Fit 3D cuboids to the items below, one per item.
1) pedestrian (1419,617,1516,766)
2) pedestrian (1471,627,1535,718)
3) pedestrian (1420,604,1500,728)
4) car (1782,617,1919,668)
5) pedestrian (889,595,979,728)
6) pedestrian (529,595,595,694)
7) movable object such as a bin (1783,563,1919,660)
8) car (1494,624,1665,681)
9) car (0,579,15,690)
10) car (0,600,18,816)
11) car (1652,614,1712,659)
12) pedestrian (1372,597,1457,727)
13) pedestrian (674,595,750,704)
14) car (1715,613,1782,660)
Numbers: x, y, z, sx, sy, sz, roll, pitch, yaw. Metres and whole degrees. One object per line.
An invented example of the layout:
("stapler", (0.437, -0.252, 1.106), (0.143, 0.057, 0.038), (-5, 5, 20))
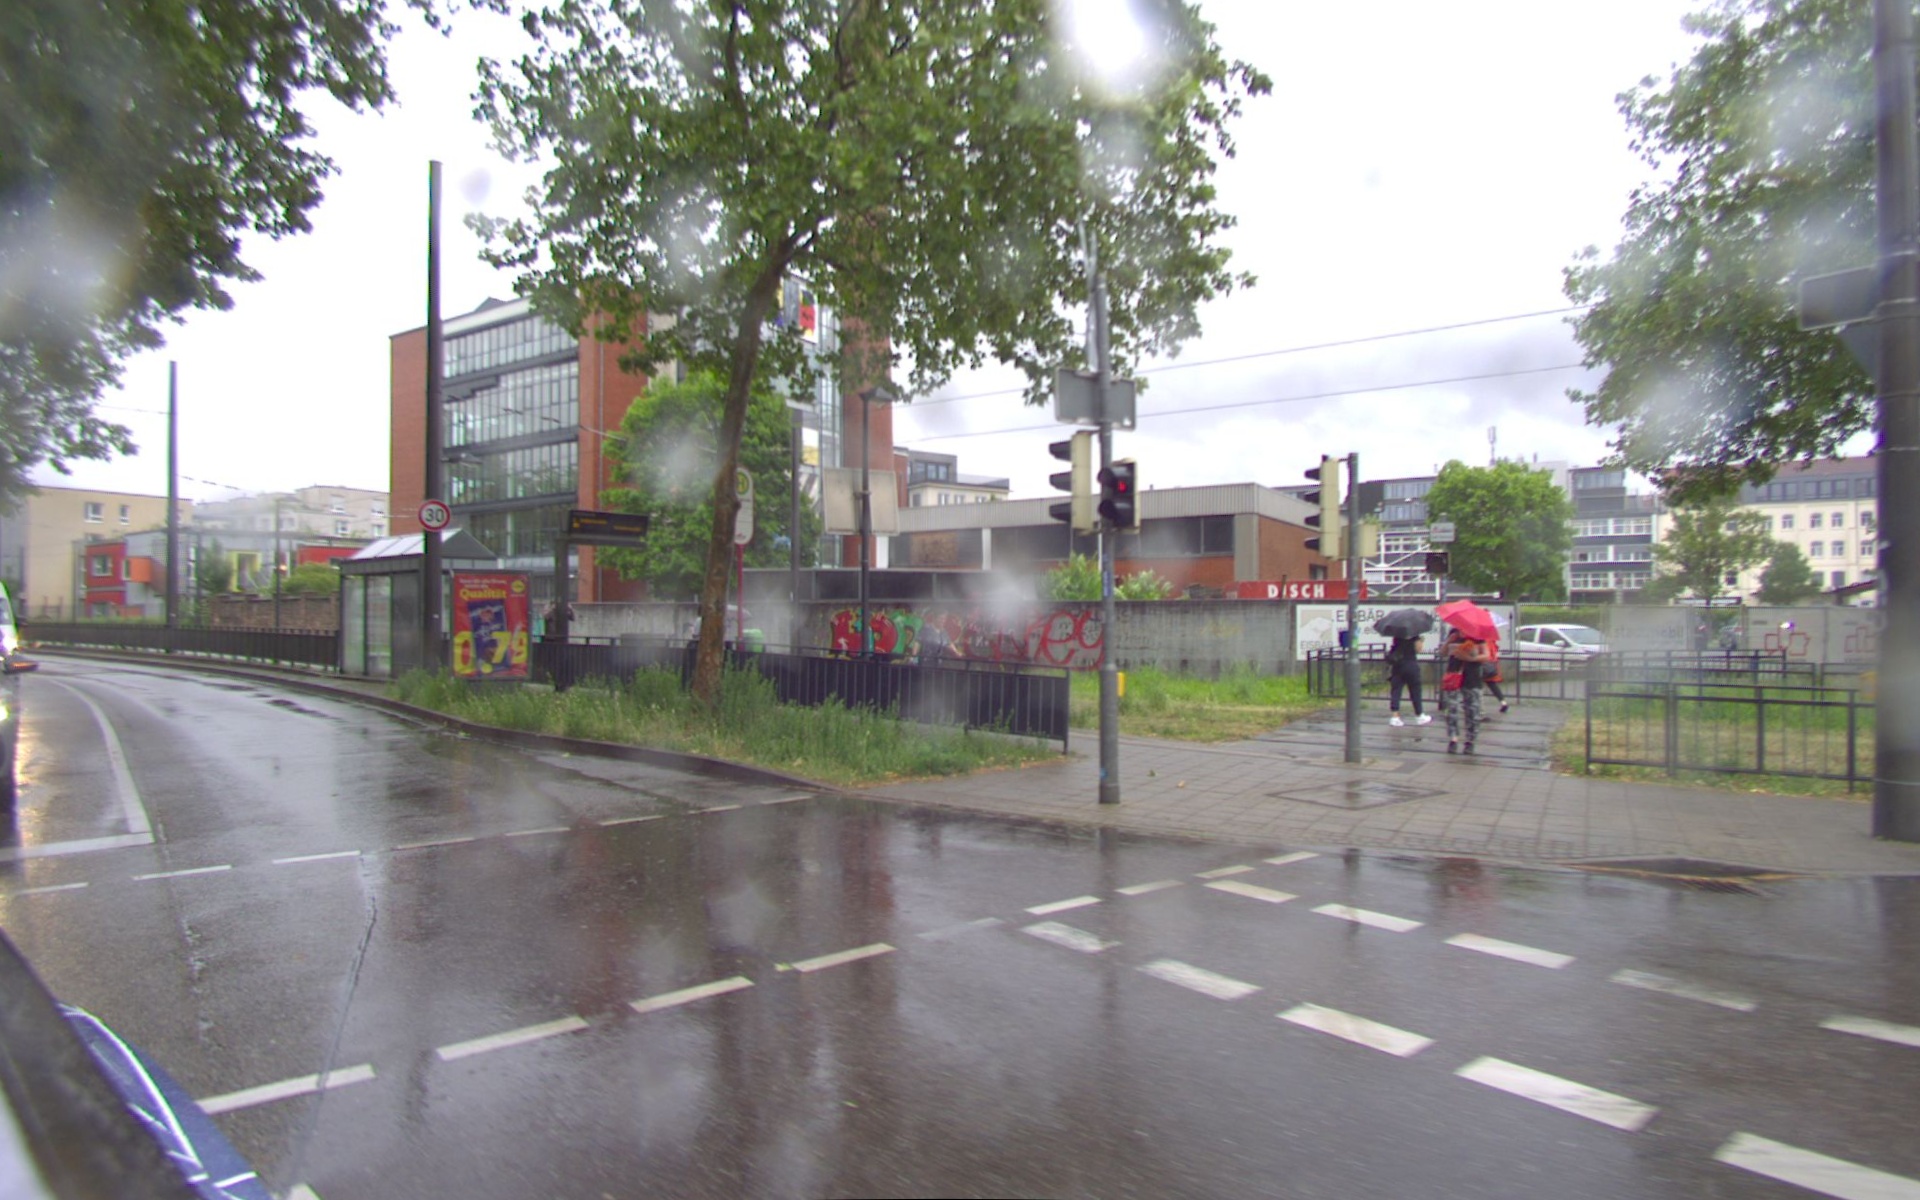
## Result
("pedestrian", (6.098, 1.064, 12.156), (0.859, 1.701, 0.838), (-2, -2, 37))
("pedestrian", (9.392, 1.233, 17.505), (0.827, 1.516, 0.838), (-2, -2, 37))
("pedestrian", (7.883, 1.020, 15.954), (0.954, 1.876, 0.838), (-2, -2, 37))
("car", (26.283, 1.186, 29.099), (1.812, 1.331, 3.676), (0, 0, -18))
("pedestrian", (-0.348, 0.807, 13.621), (0.847, 1.701, 0.850), (-2, -2, 36))
("pedestrian", (-7.686, 0.847, 19.540), (0.847, 1.846, 0.850), (-3, -2, 36))
("movable object such as a bin", (30.345, 0.346, 31.656), (2.728, 2.953, 6.797), (0, -1, -15))
("car", (16.267, 1.330, 26.805), (1.813, 1.331, 3.674), (0, 0, -12))
("car", (-25.074, 0.823, 25.163), (2.250, 2.582, 6.517), (1, -1, -44))
("car", (-9.296, 0.872, 8.512), (4.138, 1.633, 1.784), (-2, -2, 44))
("car", (31.375, 1.544, 44.031), (1.996, 1.805, 3.952), (-2, 0, 35))
("pedestrian", (6.830, 0.907, 15.211), (0.954, 1.876, 0.838), (-2, -2, 37))
("pedestrian", (-4.030, 0.792, 16.444), (0.847, 1.701, 0.850), (-2, -2, 36))
("car", (33.197, 1.495, 42.707), (1.996, 1.805, 3.952), (-2, 0, 35))
